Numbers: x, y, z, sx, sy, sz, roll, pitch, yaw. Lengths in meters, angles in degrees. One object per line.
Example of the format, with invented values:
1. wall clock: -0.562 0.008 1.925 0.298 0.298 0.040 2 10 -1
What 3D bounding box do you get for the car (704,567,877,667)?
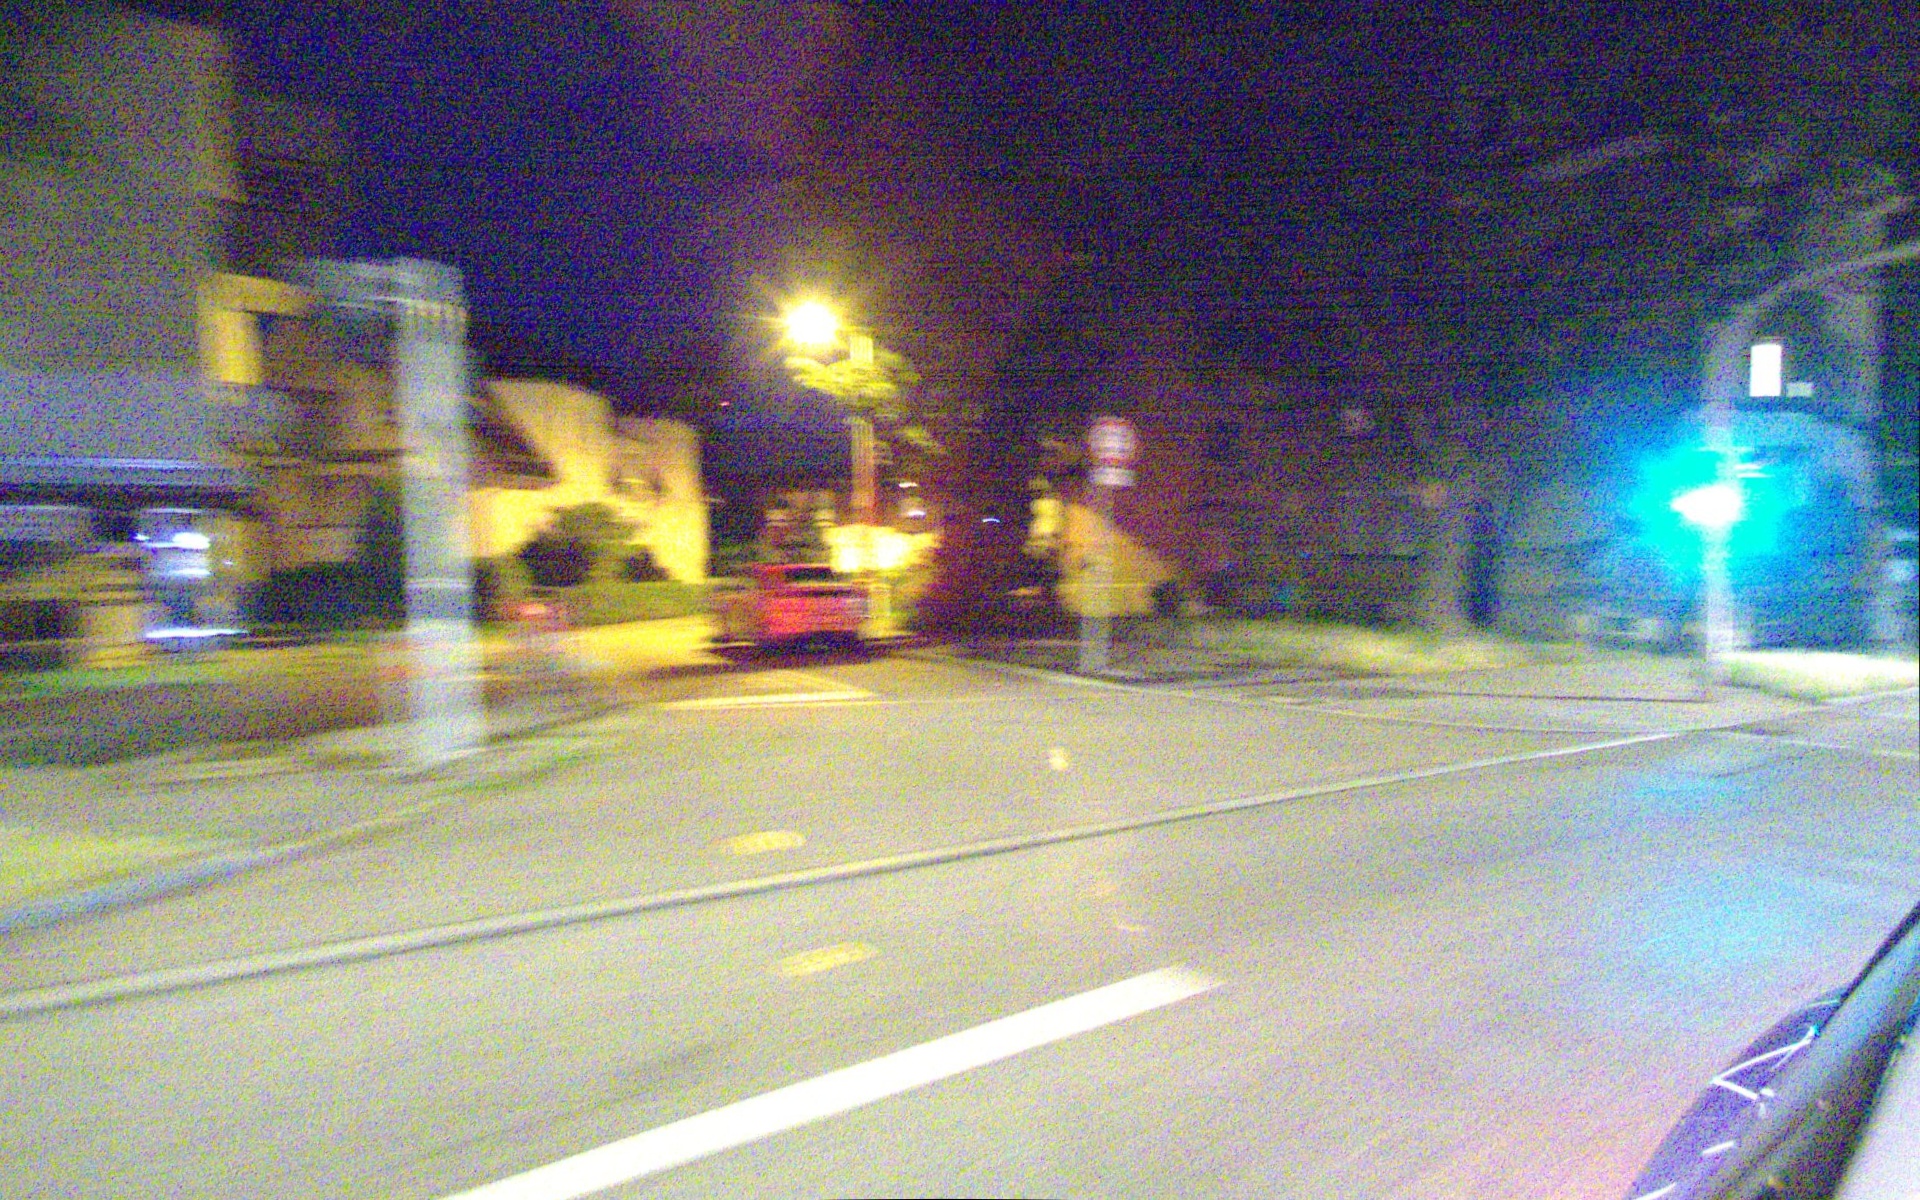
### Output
1. car: -3.208 0.216 18.373 2.011 1.575 4.263 -1 1 -25
